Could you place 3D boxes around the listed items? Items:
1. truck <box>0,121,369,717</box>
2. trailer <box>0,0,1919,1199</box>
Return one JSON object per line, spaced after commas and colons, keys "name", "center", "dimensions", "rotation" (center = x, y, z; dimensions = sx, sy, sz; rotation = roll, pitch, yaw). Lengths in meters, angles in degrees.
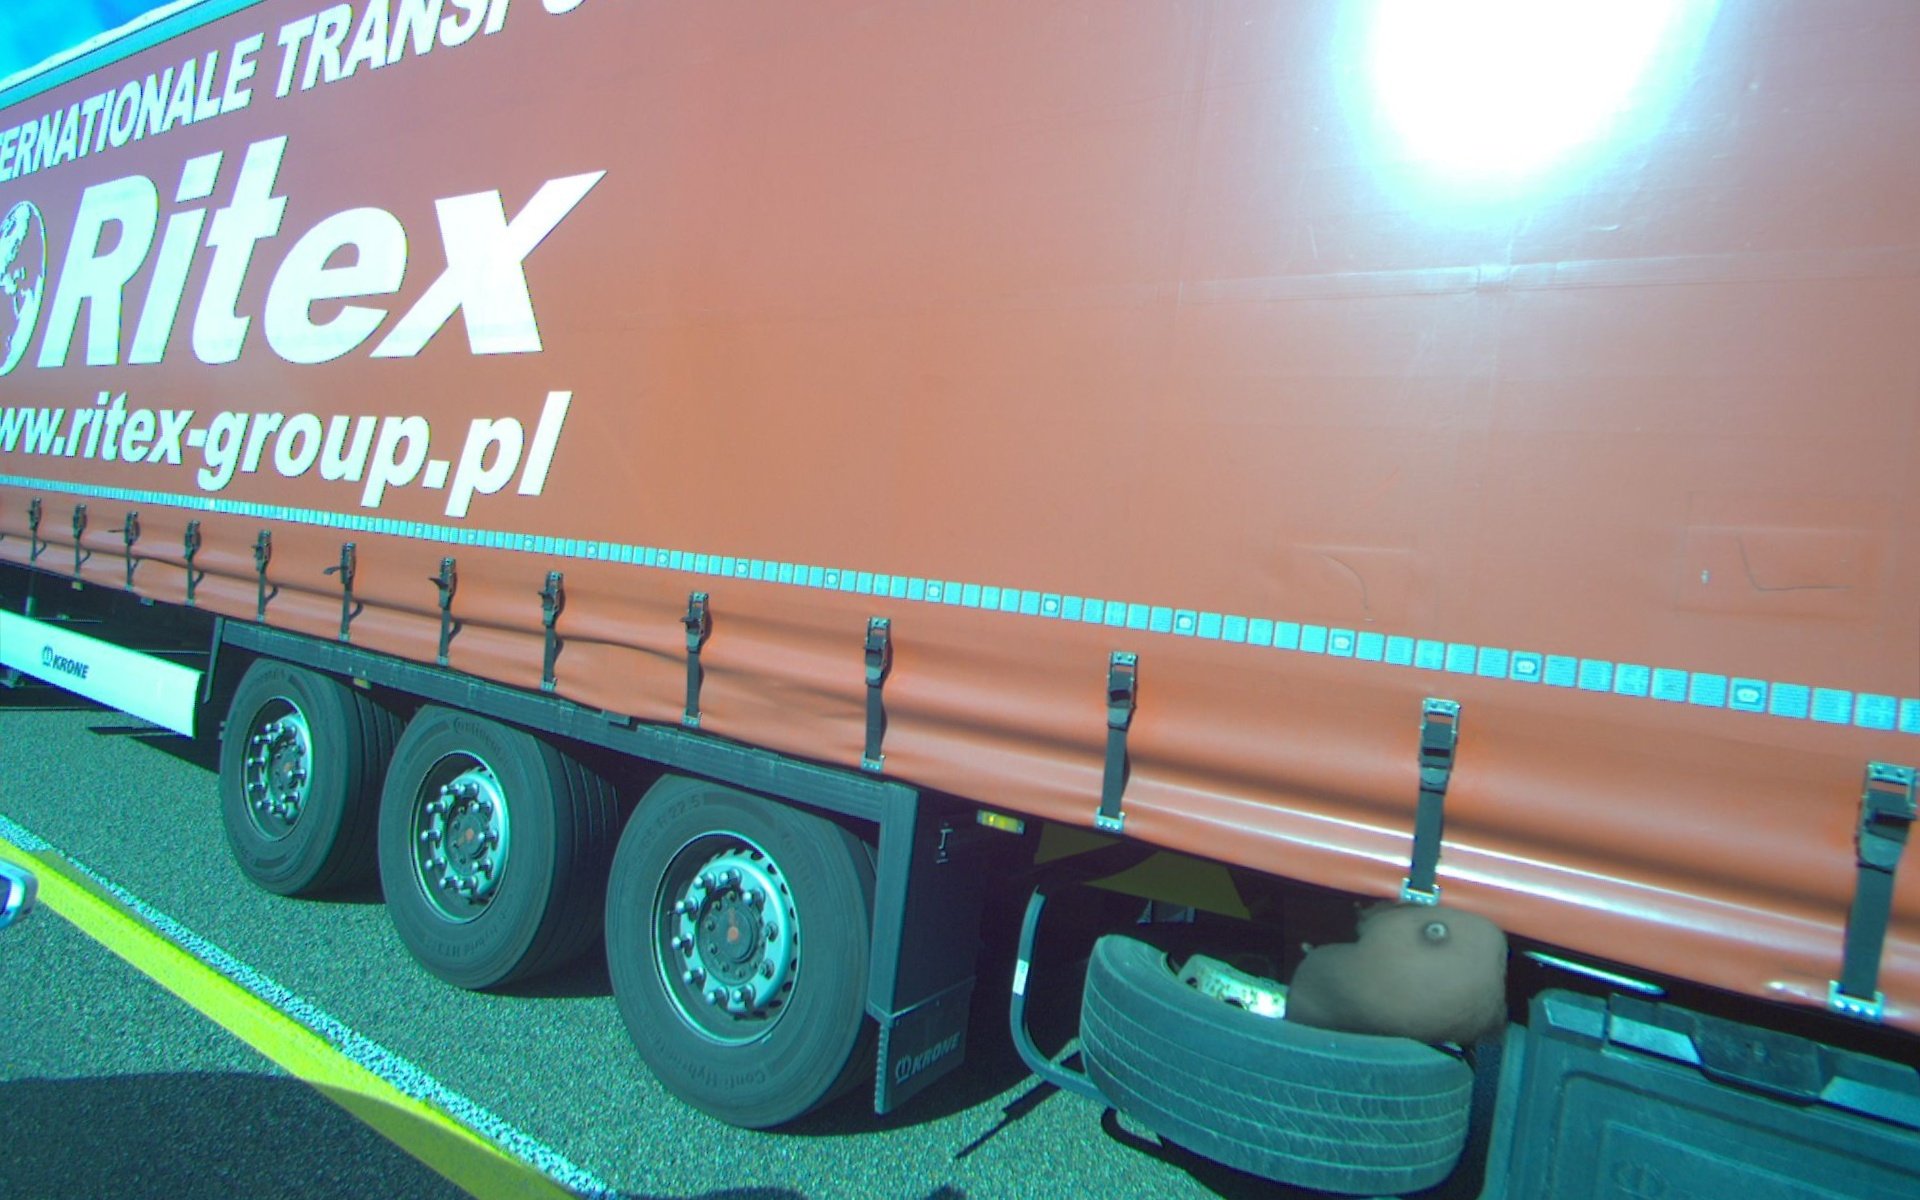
{"name": "truck", "center": [-8.494, -1.383, 9.100], "dimensions": [5.615, 4.006, 2.673], "rotation": [7, -1, 31]}
{"name": "trailer", "center": [-2.949, -0.754, 5.731], "dimensions": [13.193, 4.015, 2.705], "rotation": [7, -1, 31]}
